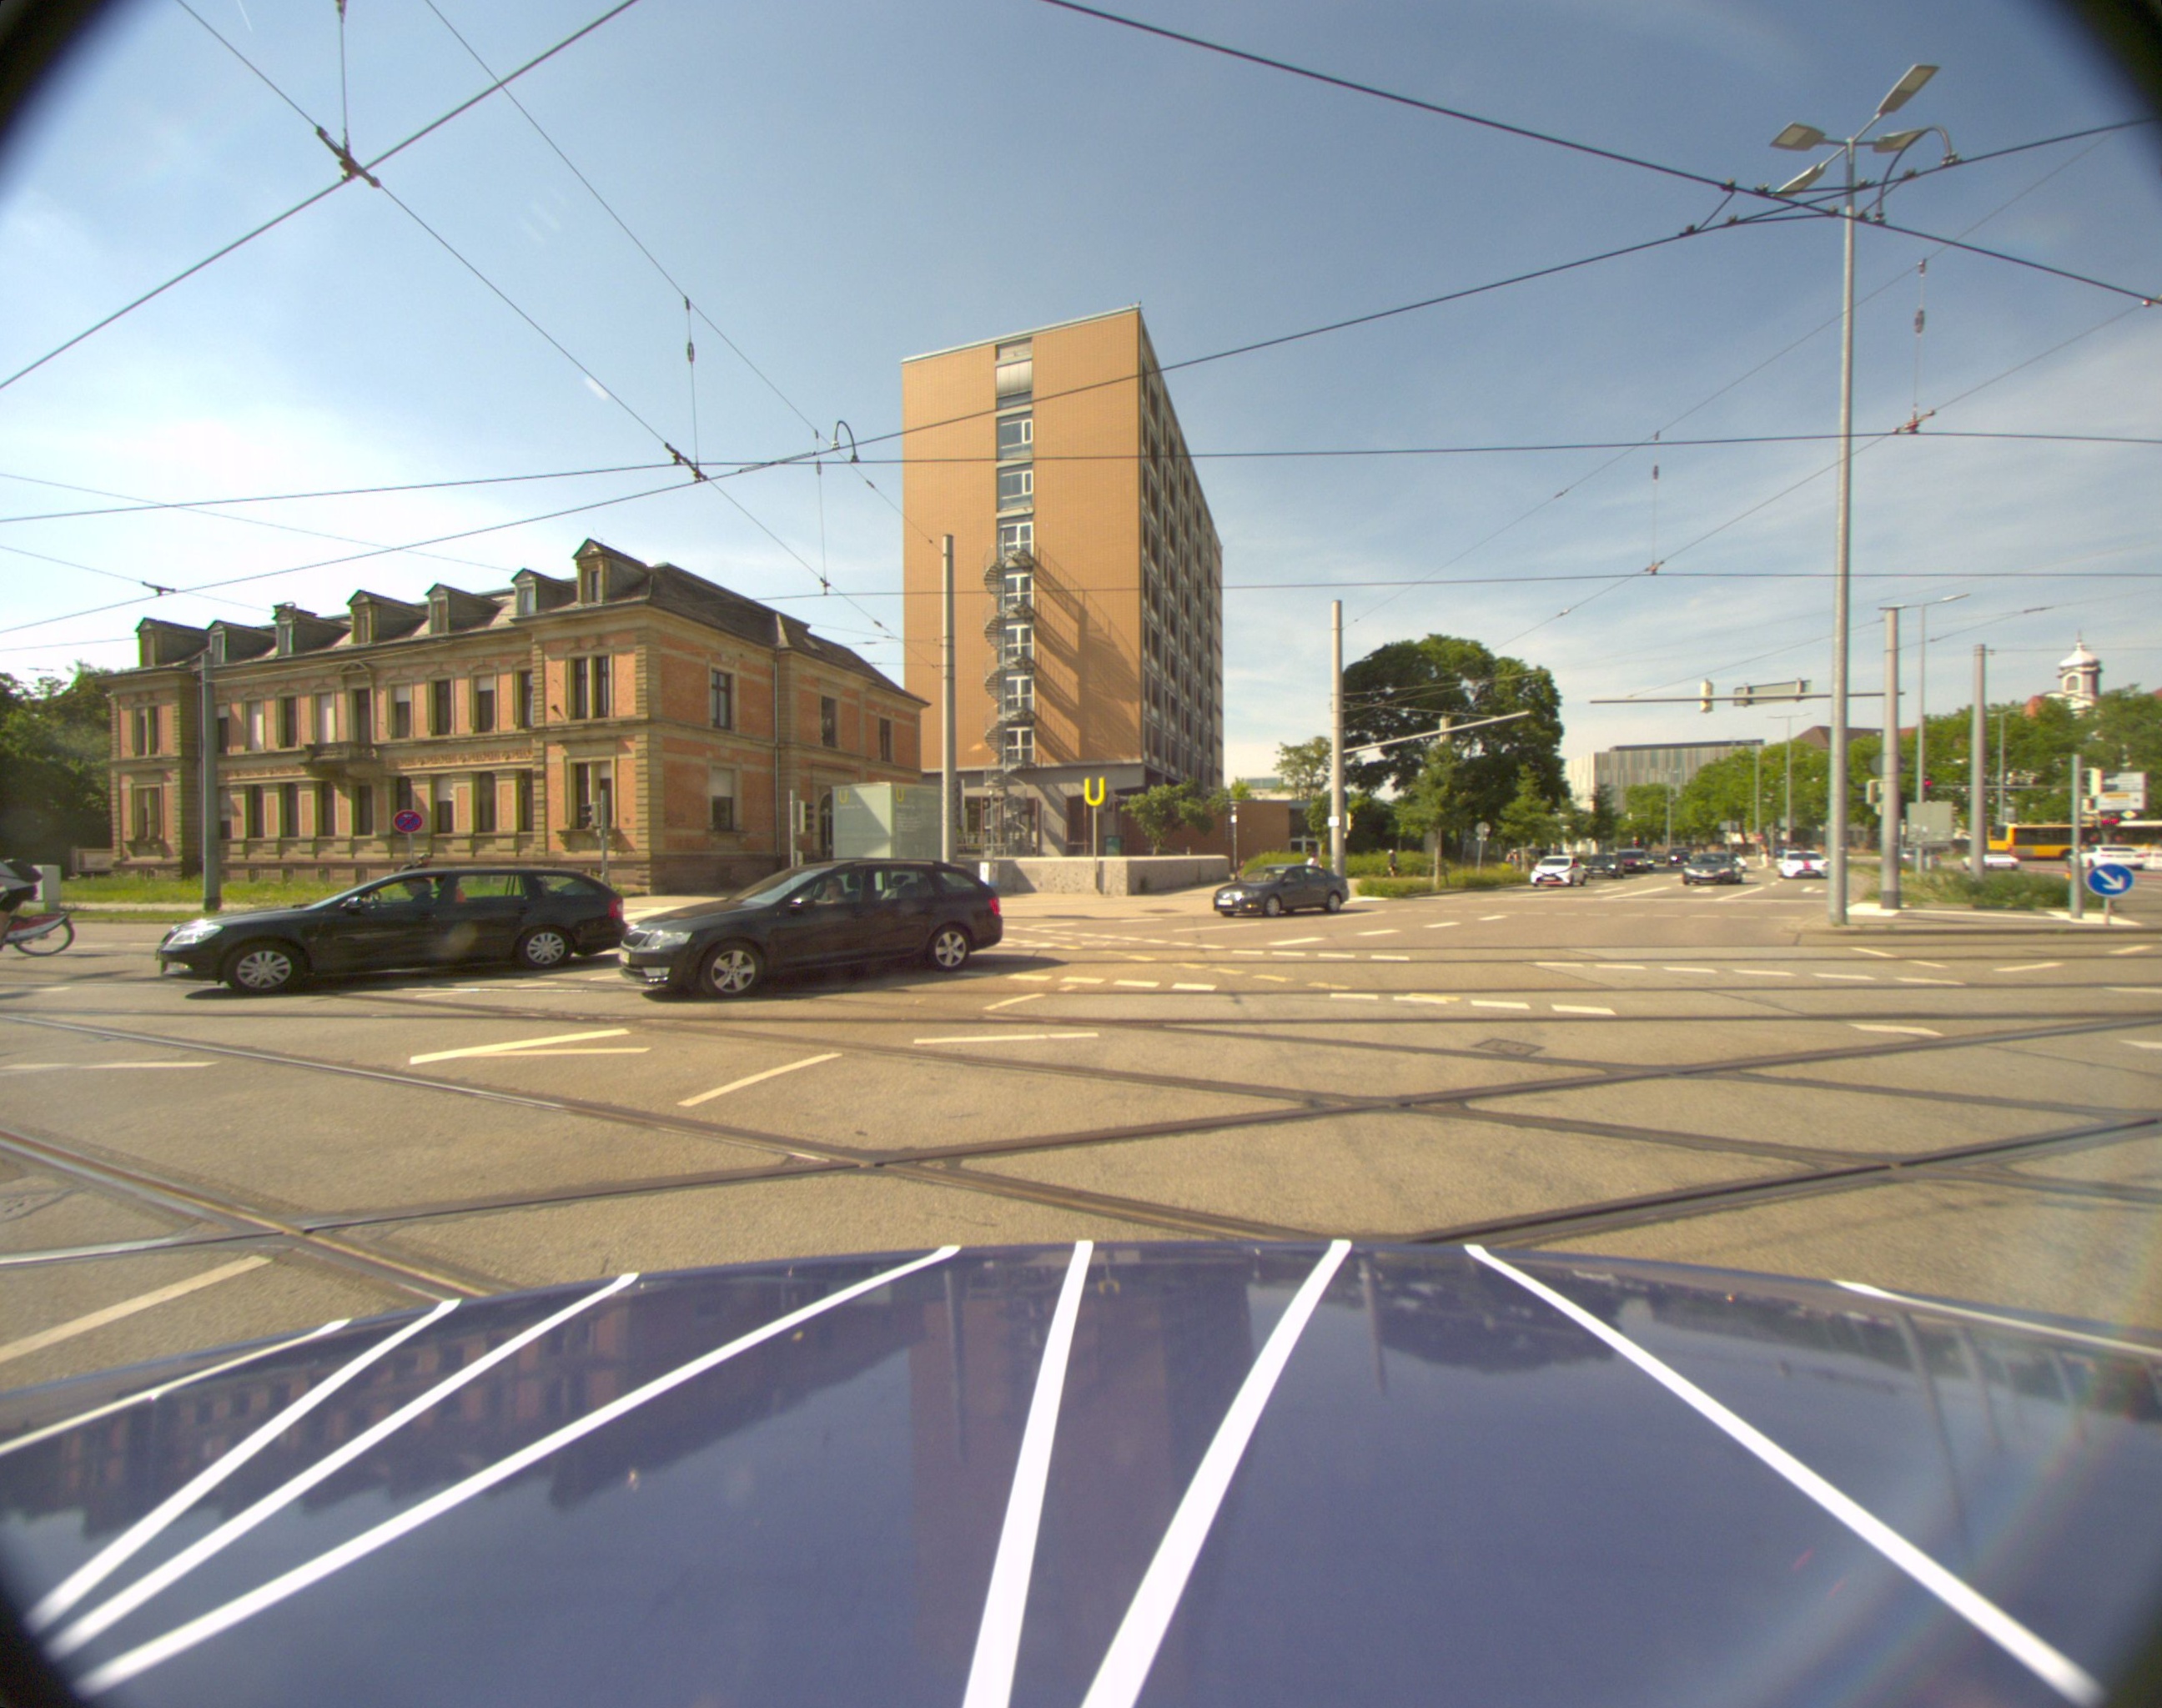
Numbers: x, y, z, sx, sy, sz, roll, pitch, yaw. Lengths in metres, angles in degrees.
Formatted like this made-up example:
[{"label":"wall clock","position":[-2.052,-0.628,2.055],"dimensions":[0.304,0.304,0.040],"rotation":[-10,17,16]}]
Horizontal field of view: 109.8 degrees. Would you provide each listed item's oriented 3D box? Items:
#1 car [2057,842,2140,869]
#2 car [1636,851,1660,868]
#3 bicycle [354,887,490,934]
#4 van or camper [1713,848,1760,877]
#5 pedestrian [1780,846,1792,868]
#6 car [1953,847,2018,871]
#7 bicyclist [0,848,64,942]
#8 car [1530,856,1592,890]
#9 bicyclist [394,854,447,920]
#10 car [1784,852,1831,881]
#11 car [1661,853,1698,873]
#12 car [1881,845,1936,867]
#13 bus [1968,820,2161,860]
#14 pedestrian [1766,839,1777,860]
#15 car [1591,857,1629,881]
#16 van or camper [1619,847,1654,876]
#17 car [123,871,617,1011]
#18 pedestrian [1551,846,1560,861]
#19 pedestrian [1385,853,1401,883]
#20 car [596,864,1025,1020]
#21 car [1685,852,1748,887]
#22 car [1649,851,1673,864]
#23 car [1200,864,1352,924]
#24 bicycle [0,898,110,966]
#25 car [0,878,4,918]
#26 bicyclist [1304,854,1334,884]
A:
[{"label":"car","position":[58.982,0.057,44.144],"dimensions":[1.799,1.411,4.008],"rotation":[-3,-1,37]},{"label":"car","position":[46.991,0.443,63.012],"dimensions":[1.487,1.286,3.493],"rotation":[0,0,34]},{"label":"bicycle","position":[-16.401,1.382,18.982],"dimensions":[2.465,1.062,0.668],"rotation":[-1,-1,-19]},{"label":"van or camper","position":[44.998,0.543,52.234],"dimensions":[1.915,1.877,4.932],"rotation":[0,0,34]},{"label":"pedestrian","position":[54.874,0.248,59.120],"dimensions":[0.754,1.664,0.642],"rotation":[-1,1,-43]},{"label":"car","position":[54.410,0.276,45.777],"dimensions":[1.595,1.279,4.008],"rotation":[-3,-1,37]},{"label":"bicyclist","position":[-17.382,0.669,12.246],"dimensions":[0.951,1.479,0.715],"rotation":[-2,0,-32]},{"label":"car","position":[22.872,0.879,36.183],"dimensions":[1.678,1.466,3.767],"rotation":[-3,-1,45]},{"label":"bicyclist","position":[-16.483,0.812,18.980],"dimensions":[0.783,1.614,0.668],"rotation":[-1,-1,-19]},{"label":"car","position":[37.136,0.600,38.902],"dimensions":[1.651,1.406,3.871],"rotation":[0,0,42]},{"label":"car","position":[55.097,0.797,69.999],"dimensions":[1.959,1.783,4.007],"rotation":[0,0,28]},{"label":"car","position":[52.559,0.123,48.329],"dimensions":[1.595,1.279,4.008],"rotation":[-3,-1,37]},{"label":"bus","position":[79.796,-1.068,60.278],"dimensions":[12.117,3.021,2.802],"rotation":[0,0,25]},{"label":"pedestrian","position":[53.711,-0.343,59.101],"dimensions":[0.754,1.664,0.540],"rotation":[-1,1,-42]},{"label":"car","position":[31.532,0.853,45.248],"dimensions":[1.405,1.287,3.588],"rotation":[2,2,42]},{"label":"van or camper","position":[39.613,0.510,54.271],"dimensions":[1.726,1.876,4.932],"rotation":[-3,-1,33]},{"label":"car","position":[-8.789,0.953,9.949],"dimensions":[4.407,1.421,1.701],"rotation":[1,-1,-41]},{"label":"pedestrian","position":[43.932,-0.049,70.346],"dimensions":[0.642,1.439,0.570],"rotation":[1,3,27]},{"label":"pedestrian","position":[17.892,0.799,43.544],"dimensions":[0.733,1.655,0.591],"rotation":[-2,3,-42]},{"label":"car","position":[-3.127,0.882,9.517],"dimensions":[4.789,1.427,1.631],"rotation":[-1,0,-40]},{"label":"car","position":[28.503,0.682,34.026],"dimensions":[4.128,1.416,1.647],"rotation":[-2,-1,-44]},{"label":"car","position":[62.955,0.340,82.535],"dimensions":[1.487,1.286,3.492],"rotation":[-3,-1,29]},{"label":"car","position":[5.628,1.073,21.667],"dimensions":[4.536,1.427,1.632],"rotation":[-2,0,-35]},{"label":"bicycle","position":[-17.384,1.276,12.234],"dimensions":[2.024,1.009,0.715],"rotation":[-2,-1,-37]},{"label":"car","position":[-37.451,1.466,24.717],"dimensions":[3.445,1.306,1.674],"rotation":[0,0,15]},{"label":"bicyclist","position":[8.659,0.531,27.690],"dimensions":[0.716,1.023,0.915],"rotation":[0,3,-8]}]
